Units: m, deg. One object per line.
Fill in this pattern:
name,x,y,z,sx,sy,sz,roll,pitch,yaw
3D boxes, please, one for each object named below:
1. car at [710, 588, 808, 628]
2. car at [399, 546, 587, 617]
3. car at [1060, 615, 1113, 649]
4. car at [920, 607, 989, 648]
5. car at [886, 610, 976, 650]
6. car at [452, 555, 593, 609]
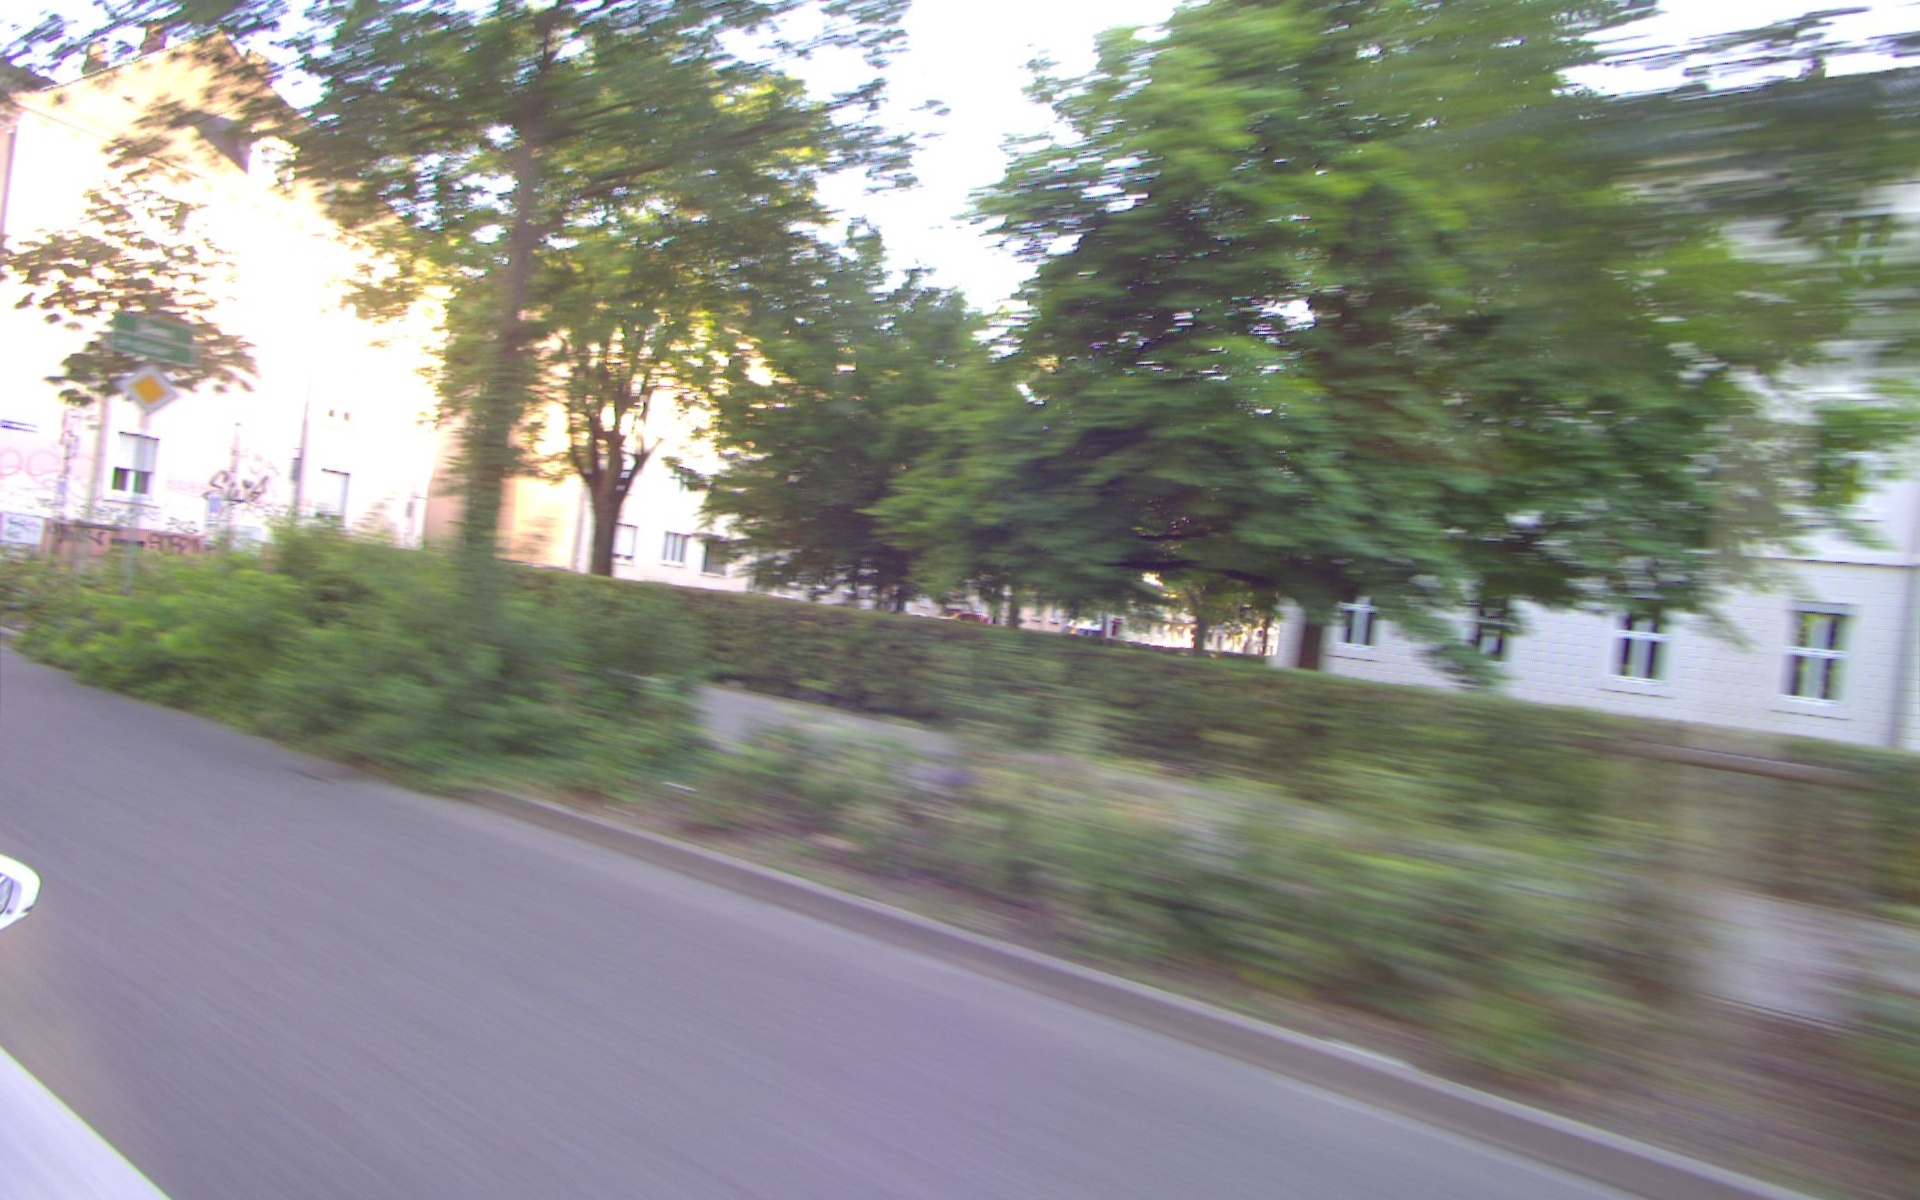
car,-9.169,0.395,46.225,1.841,1.500,4.240,7,1,35
car,-12.614,-0.467,27.435,1.841,1.500,4.242,7,1,33
car,9.525,2.419,75.430,1.841,2.166,4.527,7,1,35
car,-0.303,1.669,60.226,1.841,2.166,4.240,7,1,35
car,-1.261,1.391,45.745,1.841,1.500,4.242,7,1,33
car,-15.674,-0.616,36.248,1.841,1.500,4.240,7,1,35
